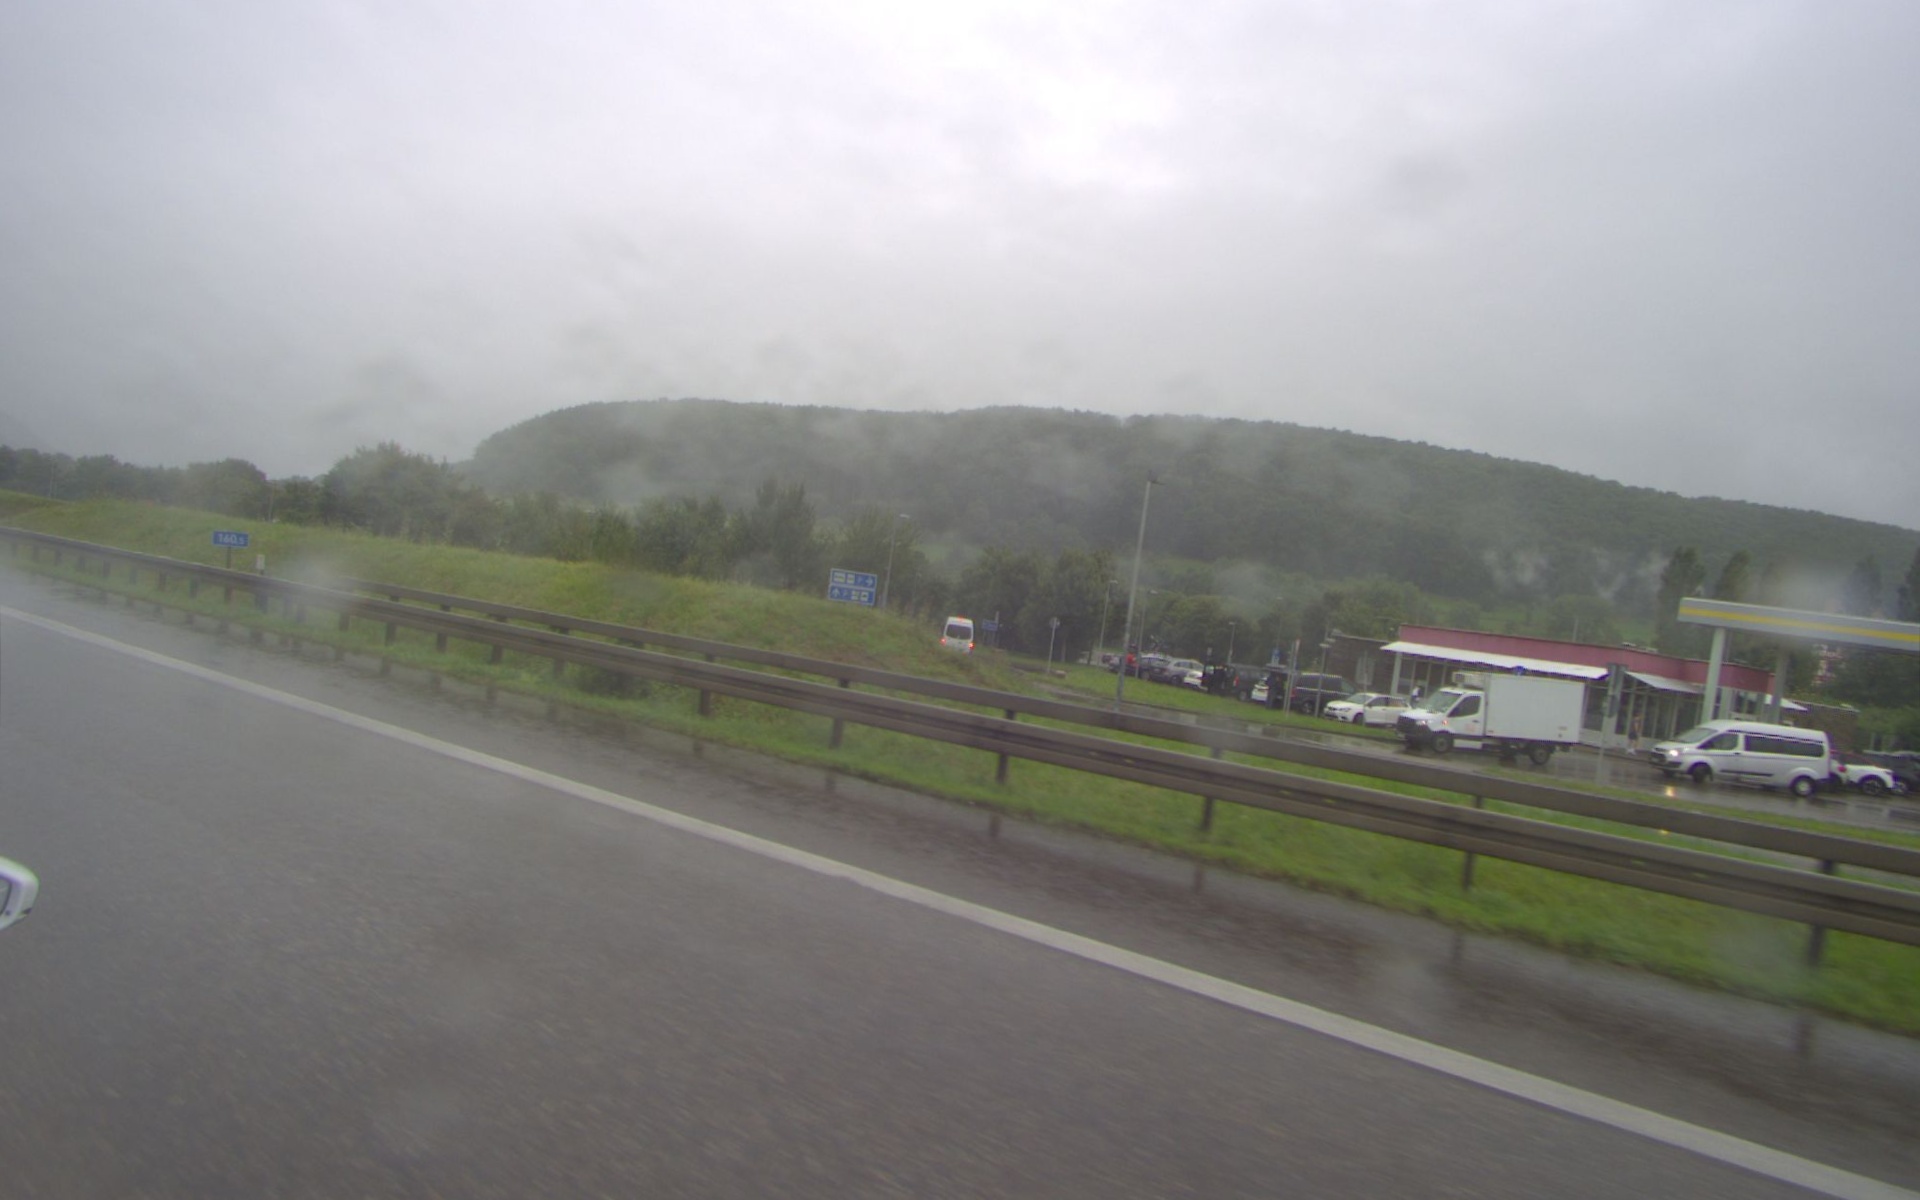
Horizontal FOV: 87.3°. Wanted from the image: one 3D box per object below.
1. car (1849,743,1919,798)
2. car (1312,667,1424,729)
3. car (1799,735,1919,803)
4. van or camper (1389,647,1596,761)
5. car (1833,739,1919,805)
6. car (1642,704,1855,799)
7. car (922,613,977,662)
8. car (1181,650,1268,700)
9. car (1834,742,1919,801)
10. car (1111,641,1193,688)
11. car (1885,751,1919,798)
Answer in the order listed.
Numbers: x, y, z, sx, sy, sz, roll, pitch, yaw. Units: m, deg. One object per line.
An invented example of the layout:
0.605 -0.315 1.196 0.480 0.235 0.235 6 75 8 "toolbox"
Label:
42.203 7.694 44.314 3.925 2.036 2.003 8 -2 18 "car"
17.642 4.229 43.589 3.941 2.037 1.993 8 -1 -17 "car"
36.248 6.760 40.205 3.941 2.036 1.791 6 -3 39 "car"
18.778 3.638 35.632 6.062 3.094 2.000 8 -1 -3 "van or camper"
35.521 6.565 37.691 3.941 2.036 1.995 6 -3 38 "car"
27.544 5.264 35.350 5.348 2.335 2.003 8 -1 11 "car"
-0.767 2.328 64.113 2.373 2.611 6.717 8 -2 -7 "car"
13.930 3.948 53.010 3.952 2.037 1.988 8 -1 -26 "car"
39.639 7.314 42.170 3.929 2.036 2.000 7 -2 26 "car"
10.826 3.642 56.760 3.946 2.037 1.990 8 -1 -22 "car"
45.482 8.290 46.126 3.931 2.036 2.000 7 -2 28 "car"
